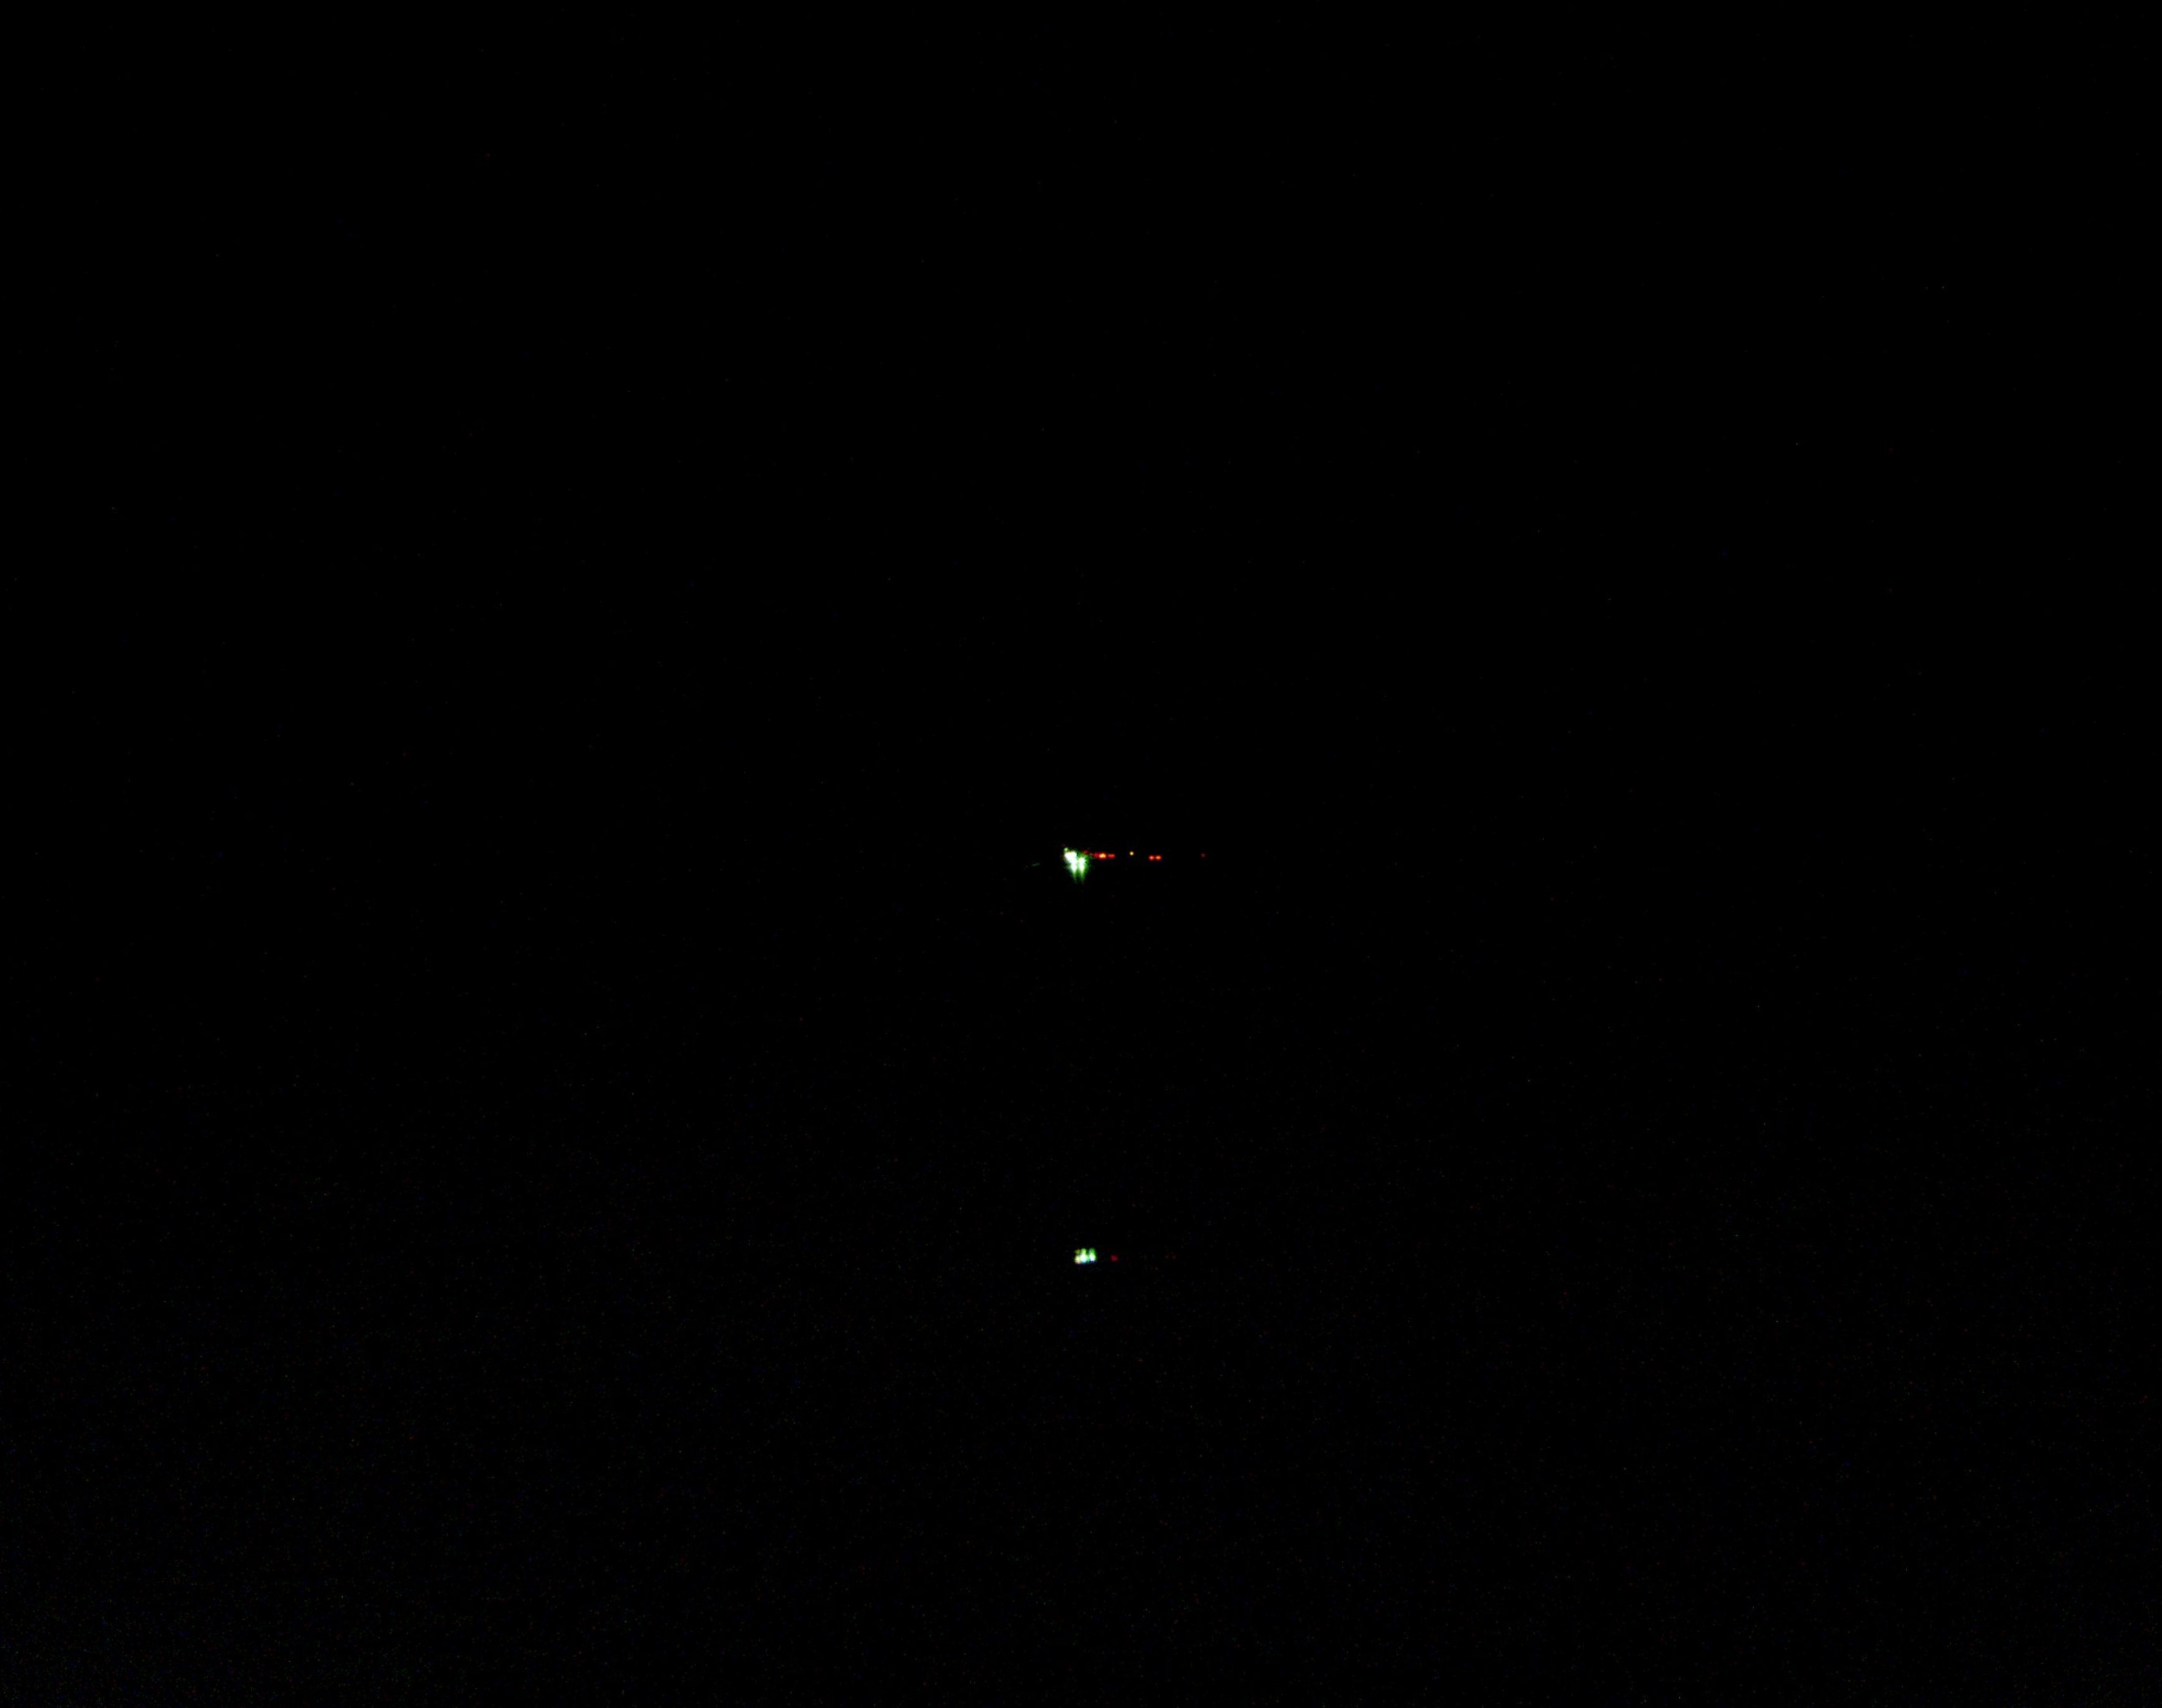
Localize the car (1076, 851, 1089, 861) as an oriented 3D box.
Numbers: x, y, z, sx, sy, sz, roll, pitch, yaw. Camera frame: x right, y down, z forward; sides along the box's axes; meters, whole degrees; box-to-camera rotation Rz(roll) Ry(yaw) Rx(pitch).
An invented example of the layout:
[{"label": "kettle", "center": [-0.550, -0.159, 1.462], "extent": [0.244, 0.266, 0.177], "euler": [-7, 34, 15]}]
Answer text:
[{"label": "car", "center": [0.258, 0.307, 131.913], "extent": [2.154, 1.558, 4.580], "euler": [-2, 1, -1]}]

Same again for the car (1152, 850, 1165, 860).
[{"label": "car", "center": [15.428, 0.190, 152.268], "extent": [1.999, 2.002, 4.604], "euler": [-2, 1, -1]}]

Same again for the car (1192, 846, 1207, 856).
[{"label": "car", "center": [22.293, -0.590, 142.980], "extent": [1.999, 1.767, 5.088], "euler": [-2, 1, -1]}]
